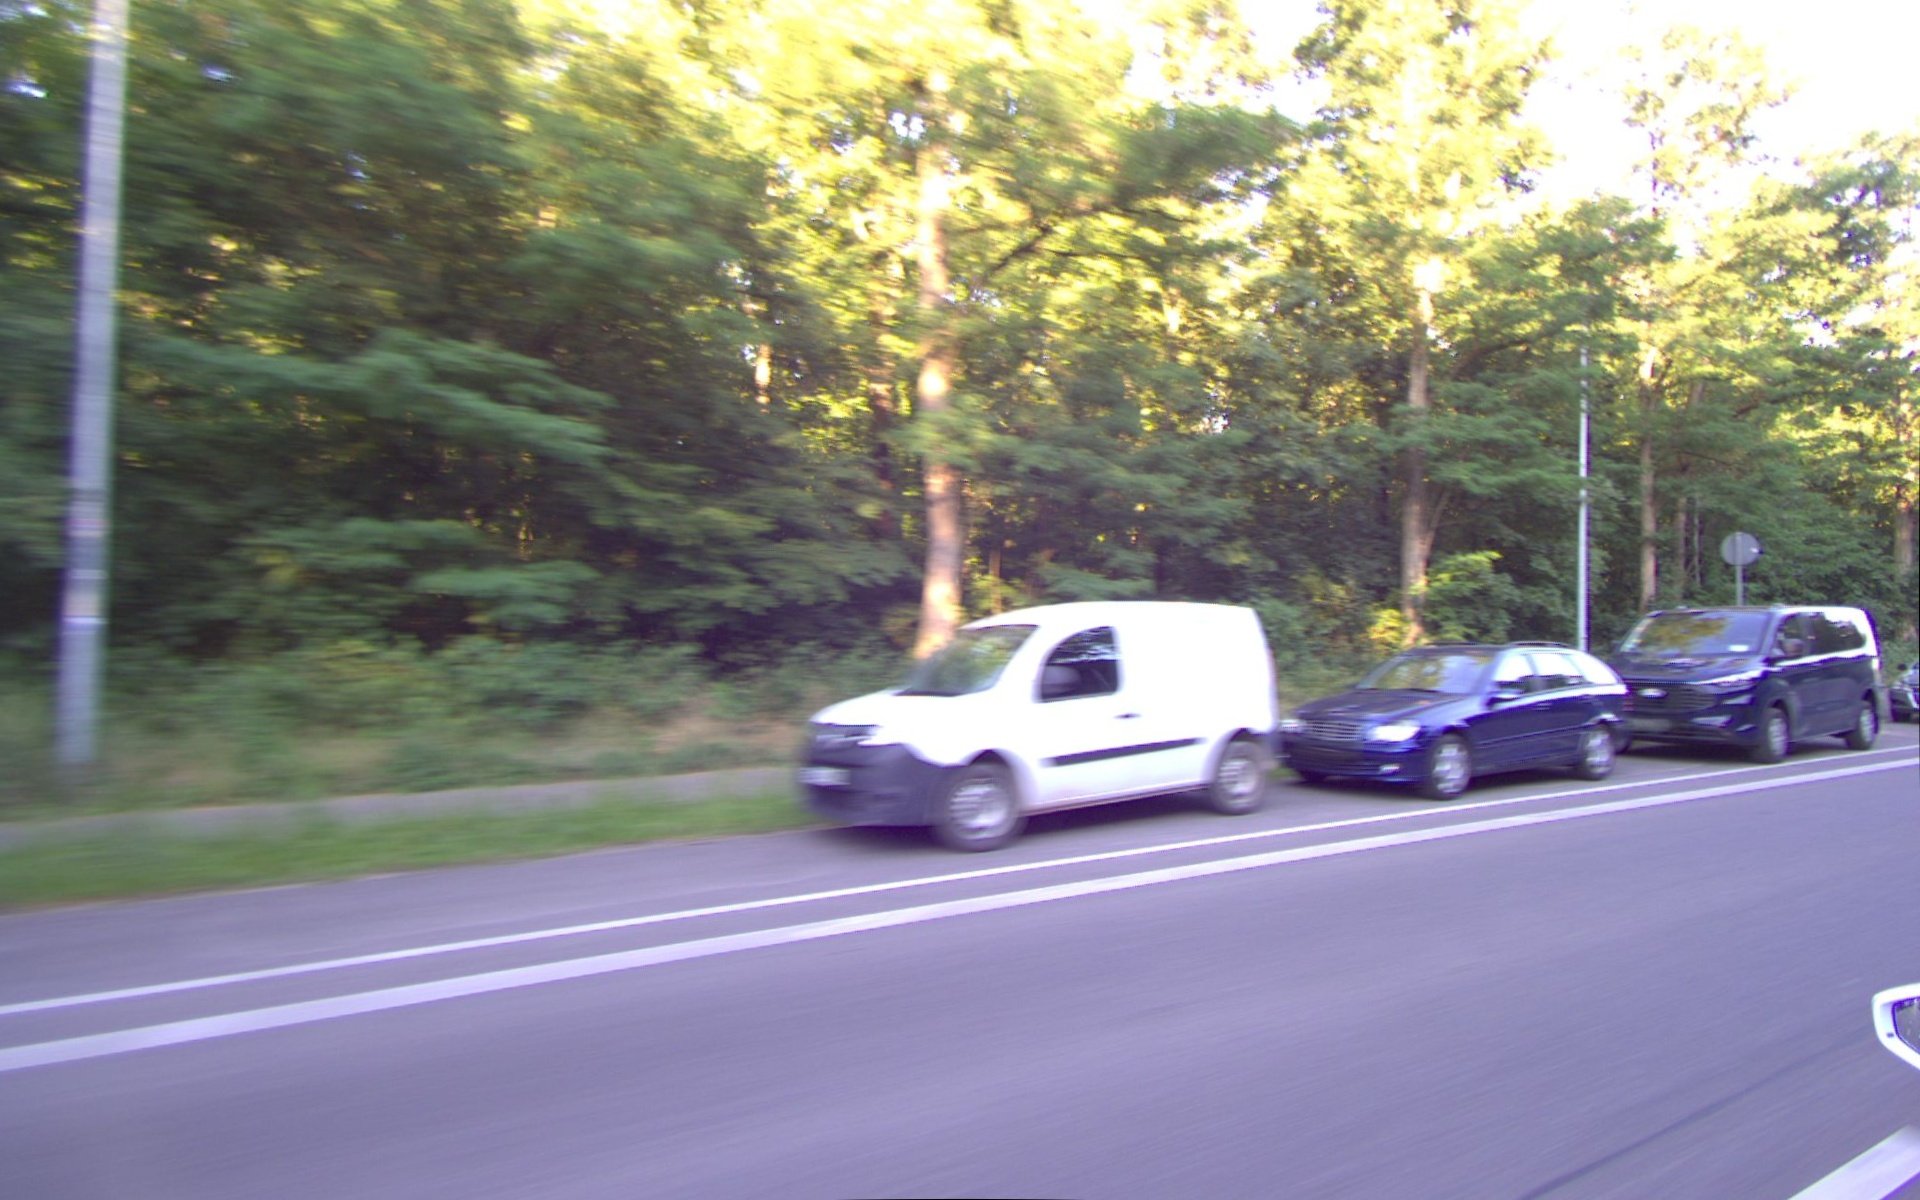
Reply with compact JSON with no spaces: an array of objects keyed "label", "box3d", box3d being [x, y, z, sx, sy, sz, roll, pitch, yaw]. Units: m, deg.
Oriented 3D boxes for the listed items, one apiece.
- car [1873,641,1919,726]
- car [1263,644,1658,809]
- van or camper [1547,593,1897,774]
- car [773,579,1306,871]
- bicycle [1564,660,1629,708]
[{"label":"car","box3d":[19.083,1.538,18.956,4.199,1.521,1.660,2,-3,-32]},{"label":"car","box3d":[5.428,1.205,10.752,4.395,1.451,1.662,1,-3,-31]},{"label":"van or camper","box3d":[10.460,1.059,13.666,5.401,2.044,1.992,2,-4,-32]},{"label":"car","box3d":[0.784,0.902,8.415,4.341,1.882,1.678,2,-4,-33]},{"label":"bicycle","box3d":[13.560,1.774,21.395,1.698,0.988,0.451,2,-2,-31]}]
